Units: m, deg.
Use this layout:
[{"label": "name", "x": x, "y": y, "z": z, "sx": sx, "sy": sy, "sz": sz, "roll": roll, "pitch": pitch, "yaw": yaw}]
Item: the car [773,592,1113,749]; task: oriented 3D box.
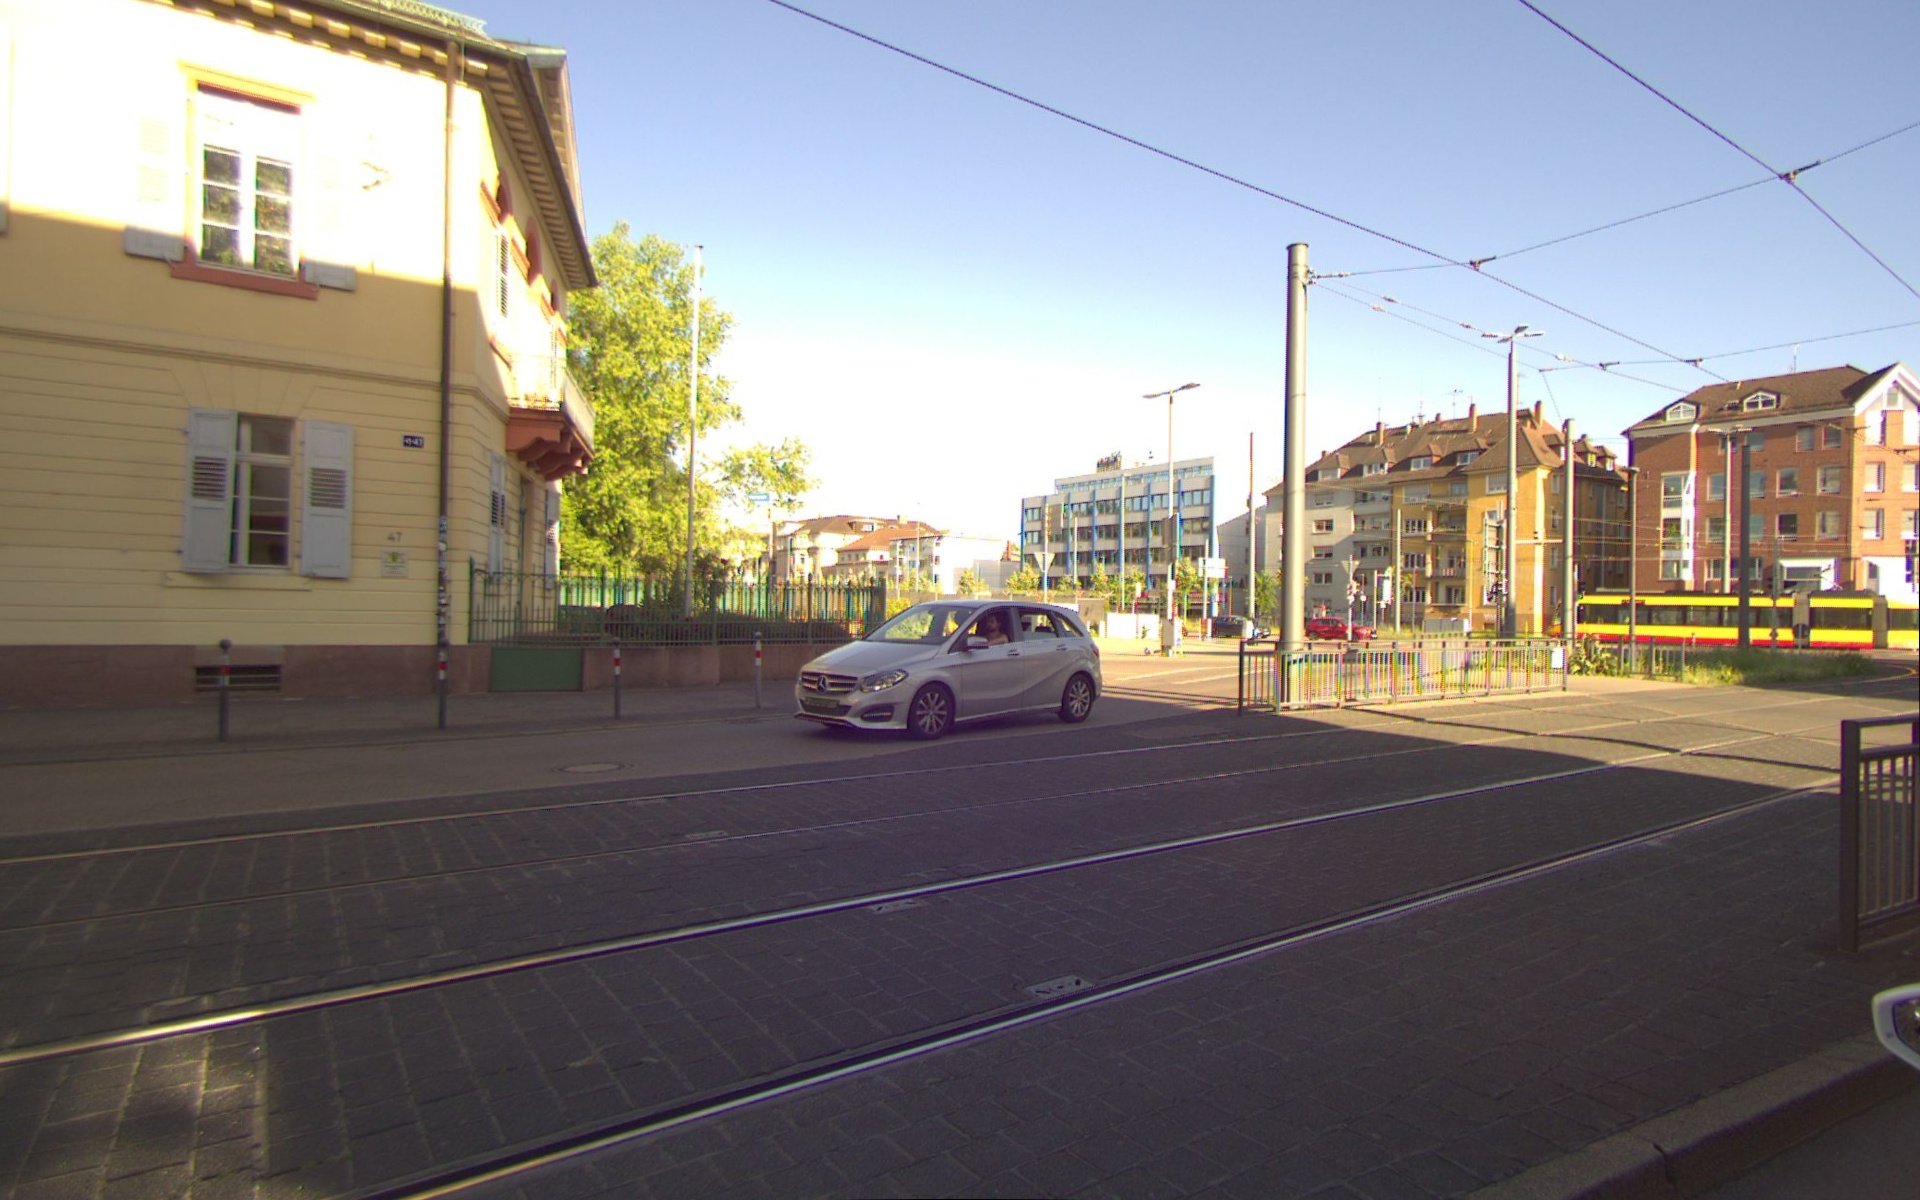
[{"label": "car", "x": -0.039, "y": 0.747, "z": 12.343, "sx": 1.762, "sy": 1.589, "sz": 4.269, "roll": 0, "pitch": -1, "yaw": 42}]

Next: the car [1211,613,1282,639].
[{"label": "car", "x": 18.861, "y": 1.714, "z": 66.262, "sx": 1.923, "sy": 1.510, "sz": 4.110, "roll": 1, "pitch": 1, "yaw": -40}]

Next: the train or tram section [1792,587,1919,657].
[{"label": "train or tram section", "x": 57.218, "y": 1.433, "z": 57.550, "sx": 15.074, "sy": 3.768, "sz": 2.646, "roll": 3, "pitch": 1, "yaw": 12}]

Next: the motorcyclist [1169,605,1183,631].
[{"label": "motorcyclist", "x": 15.091, "y": 1.252, "z": 70.234, "sx": 0.385, "sy": 1.731, "sz": 0.775, "roll": 1, "pitch": 2, "yaw": -38}]

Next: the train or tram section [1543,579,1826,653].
[{"label": "train or tram section", "x": 44.661, "y": 0.852, "z": 62.842, "sx": 13.945, "sy": 3.765, "sz": 2.676, "roll": 3, "pitch": 1, "yaw": 32}]

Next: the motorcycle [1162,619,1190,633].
[{"label": "motorcycle", "x": 15.106, "y": 1.820, "z": 70.193, "sx": 0.556, "sy": 0.905, "sz": 1.982, "roll": 1, "pitch": 2, "yaw": -39}]

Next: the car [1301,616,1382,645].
[{"label": "car", "x": 22.773, "y": 1.813, "z": 60.073, "sx": 1.923, "sy": 1.510, "sz": 4.110, "roll": 1, "pitch": 1, "yaw": -40}]
